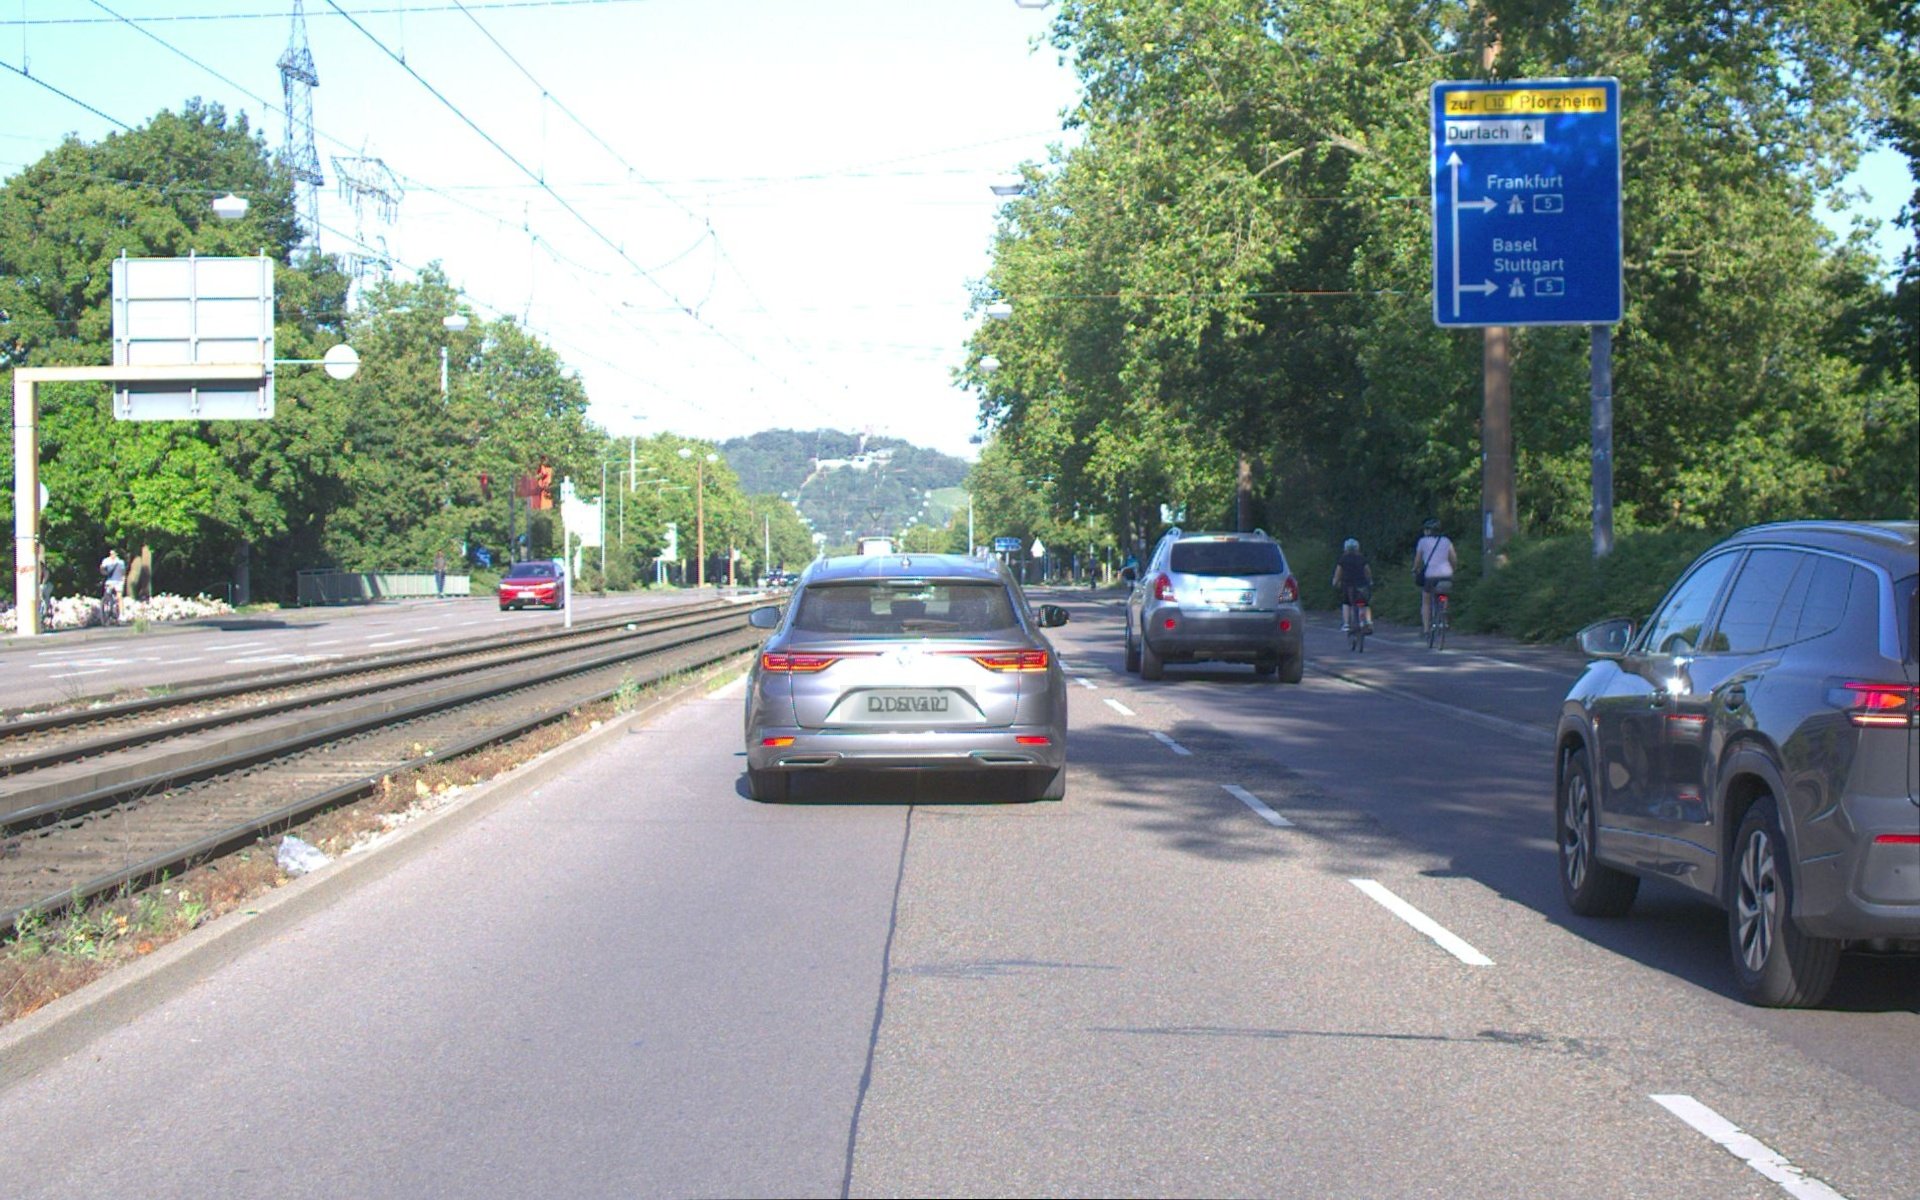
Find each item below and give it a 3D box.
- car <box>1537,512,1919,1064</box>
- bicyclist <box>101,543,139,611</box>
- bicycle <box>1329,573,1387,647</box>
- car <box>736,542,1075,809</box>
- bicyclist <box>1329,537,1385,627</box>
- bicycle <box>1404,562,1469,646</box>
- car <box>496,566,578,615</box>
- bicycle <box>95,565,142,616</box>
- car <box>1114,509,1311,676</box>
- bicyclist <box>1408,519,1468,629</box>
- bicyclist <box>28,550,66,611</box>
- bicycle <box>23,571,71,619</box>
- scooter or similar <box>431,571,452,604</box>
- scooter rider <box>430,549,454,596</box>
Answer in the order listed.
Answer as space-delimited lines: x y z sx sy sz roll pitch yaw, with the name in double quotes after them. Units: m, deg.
3.488 0.536 12.583 1.844 1.655 4.440 1 1 -2 "car"
-20.810 -0.578 85.152 0.602 1.653 0.963 2 1 3 "bicyclist"
5.511 0.128 47.616 0.565 0.971 1.788 -1 1 0 "bicycle"
-0.293 0.376 21.277 1.866 1.462 4.666 0 1 0 "car"
5.512 -0.255 47.712 0.641 1.222 0.891 1 1 0 "bicyclist"
6.593 0.046 47.611 0.622 1.116 1.813 -1 1 0 "bicycle"
-13.599 -0.325 110.788 2.039 1.498 4.888 0 1 0 "car"
-20.821 -0.238 85.087 0.602 1.215 1.748 2 1 3 "bicycle"
2.894 -0.120 40.222 1.883 1.789 4.000 2 1 -1 "car"
6.622 -0.370 47.635 0.685 1.503 0.891 0 1 0 "bicyclist"
-21.094 -0.461 79.438 0.625 1.369 0.880 2 1 0 "bicyclist"
-21.106 -0.116 79.469 0.625 1.055 1.703 2 1 0 "bicycle"
-20.386 -0.501 135.217 0.472 1.291 1.262 0 0 6 "scooter or similar"
-20.391 -1.070 135.282 0.682 1.842 1.000 -1 1 7 "scooter rider"
